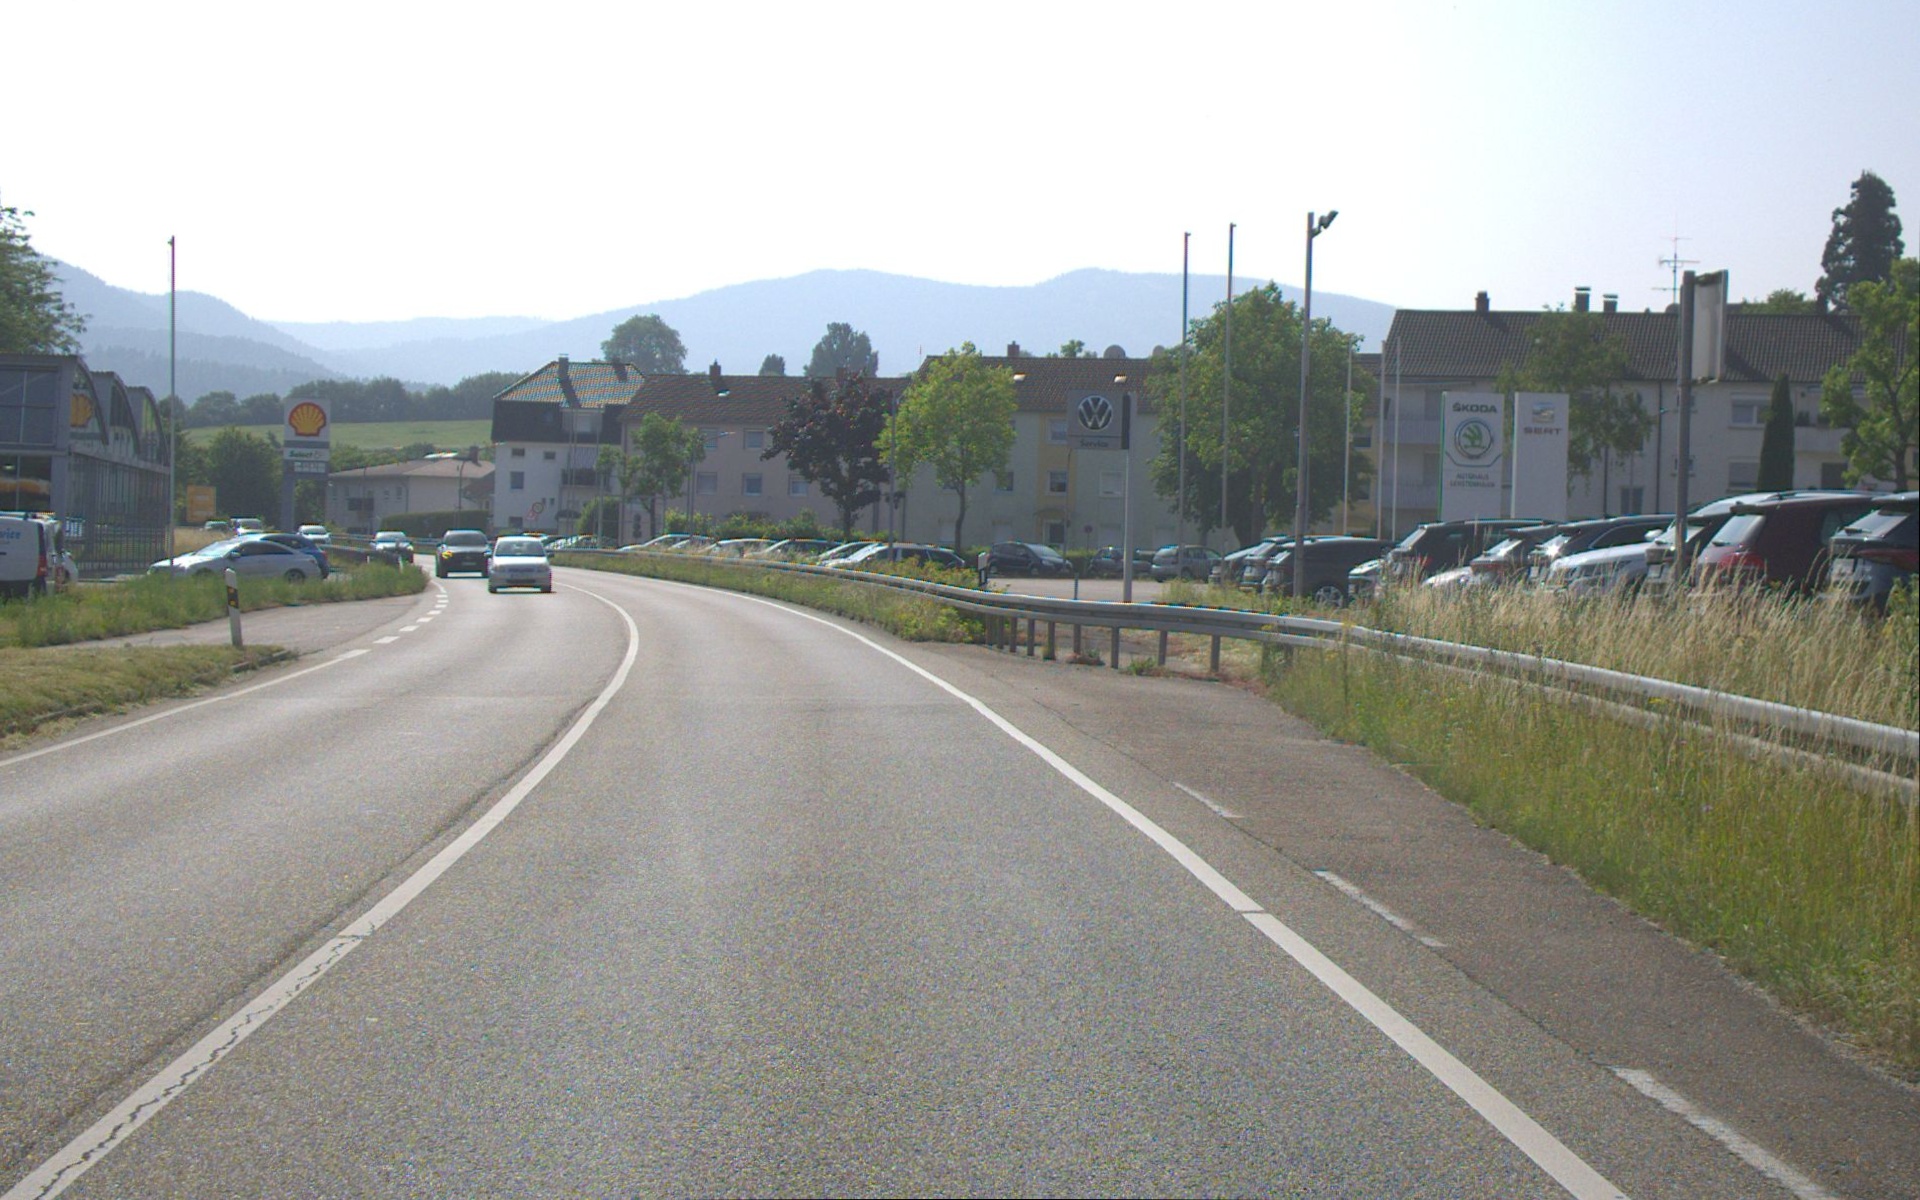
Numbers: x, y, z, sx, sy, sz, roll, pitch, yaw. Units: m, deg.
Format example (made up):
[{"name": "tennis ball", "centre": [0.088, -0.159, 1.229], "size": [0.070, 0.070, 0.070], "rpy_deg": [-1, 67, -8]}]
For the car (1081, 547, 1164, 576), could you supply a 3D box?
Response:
[{"name": "car", "centre": [6.874, -1.632, 145.745], "size": [1.589, 1.182, 3.662], "rpy_deg": [0, 1, -35]}]

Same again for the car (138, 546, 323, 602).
[{"name": "car", "centre": [-18.631, -0.662, 87.942], "size": [1.852, 1.363, 4.384], "rpy_deg": [2, 2, 42]}]

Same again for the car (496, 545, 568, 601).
[{"name": "car", "centre": [-11.612, -0.744, 93.176], "size": [1.677, 1.468, 3.708], "rpy_deg": [0, 1, -11]}]

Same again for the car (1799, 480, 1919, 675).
[{"name": "car", "centre": [8.514, -0.151, 26.231], "size": [3.733, 1.423, 1.779], "rpy_deg": [1, 0, -3]}]

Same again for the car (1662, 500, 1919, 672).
[{"name": "car", "centre": [8.086, -0.109, 29.381], "size": [3.730, 1.402, 1.823], "rpy_deg": [1, 0, -3]}]

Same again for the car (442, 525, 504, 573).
[{"name": "car", "centre": [-17.156, -1.807, 121.228], "size": [1.811, 1.624, 4.542], "rpy_deg": [0, 1, -3]}]

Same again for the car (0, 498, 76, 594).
[{"name": "car", "centre": [-21.682, -1.262, 74.089], "size": [4.790, 1.974, 2.229], "rpy_deg": [3, 1, -8]}]

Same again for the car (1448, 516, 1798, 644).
[{"name": "car", "centre": [7.939, -0.243, 41.366], "size": [3.837, 1.453, 1.746], "rpy_deg": [1, 0, -1]}]

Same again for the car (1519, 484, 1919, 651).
[{"name": "car", "centre": [7.965, -0.331, 35.444], "size": [3.986, 1.626, 1.921], "rpy_deg": [1, 0, -4]}]

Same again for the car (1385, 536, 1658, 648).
[{"name": "car", "centre": [8.498, -0.126, 52.241], "size": [3.878, 1.658, 1.840], "rpy_deg": [0, 0, 2]}]

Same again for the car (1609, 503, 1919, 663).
[{"name": "car", "centre": [8.398, -0.159, 32.776], "size": [3.986, 1.447, 1.951], "rpy_deg": [1, 0, -3]}]

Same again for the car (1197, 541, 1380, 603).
[{"name": "car", "centre": [8.134, -0.690, 85.230], "size": [4.155, 1.511, 1.825], "rpy_deg": [0, 1, -11]}]

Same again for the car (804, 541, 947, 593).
[{"name": "car", "centre": [-2.614, -1.015, 105.750], "size": [4.158, 1.551, 1.772], "rpy_deg": [-1, 1, -9]}]

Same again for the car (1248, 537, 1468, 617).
[{"name": "car", "centre": [7.795, -0.456, 67.585], "size": [3.986, 1.489, 1.791], "rpy_deg": [1, 0, -5]}]

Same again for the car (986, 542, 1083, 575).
[{"name": "car", "centre": [3.246, -1.814, 150.416], "size": [1.908, 1.400, 4.524], "rpy_deg": [0, 1, -35]}]

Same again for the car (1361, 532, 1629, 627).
[{"name": "car", "centre": [8.513, -0.338, 54.943], "size": [4.036, 1.481, 1.722], "rpy_deg": [0, 1, 2]}]

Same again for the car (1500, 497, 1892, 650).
[{"name": "car", "centre": [8.281, -0.300, 38.917], "size": [3.987, 1.626, 1.921], "rpy_deg": [1, 0, -1]}]

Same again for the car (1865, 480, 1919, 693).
[{"name": "car", "centre": [8.512, -0.070, 23.658], "size": [3.986, 1.447, 1.951], "rpy_deg": [1, 0, -3]}]

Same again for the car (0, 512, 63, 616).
[{"name": "car", "centre": [-19.103, -0.762, 63.435], "size": [4.670, 1.851, 2.144], "rpy_deg": [3, 1, -8]}]

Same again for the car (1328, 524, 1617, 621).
[{"name": "car", "centre": [8.565, -0.457, 57.641], "size": [4.446, 1.595, 1.855], "rpy_deg": [0, 1, -6]}]

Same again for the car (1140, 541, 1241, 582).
[{"name": "car", "centre": [9.076, -1.508, 135.211], "size": [3.754, 1.516, 1.657], "rpy_deg": [0, 1, -37]}]

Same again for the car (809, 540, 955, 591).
[{"name": "car", "centre": [-2.340, -1.030, 102.899], "size": [4.158, 1.485, 1.732], "rpy_deg": [-1, 1, -9]}]

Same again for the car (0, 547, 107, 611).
[{"name": "car", "centre": [-21.985, -0.520, 79.079], "size": [1.896, 1.398, 4.220], "rpy_deg": [2, 0, 42]}]

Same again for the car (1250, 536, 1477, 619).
[{"name": "car", "centre": [7.577, -0.431, 64.809], "size": [3.986, 1.489, 1.730], "rpy_deg": [1, 0, -3]}]

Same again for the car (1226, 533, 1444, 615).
[{"name": "car", "centre": [7.624, -0.529, 70.022], "size": [4.075, 1.604, 1.793], "rpy_deg": [1, 0, -8]}]
